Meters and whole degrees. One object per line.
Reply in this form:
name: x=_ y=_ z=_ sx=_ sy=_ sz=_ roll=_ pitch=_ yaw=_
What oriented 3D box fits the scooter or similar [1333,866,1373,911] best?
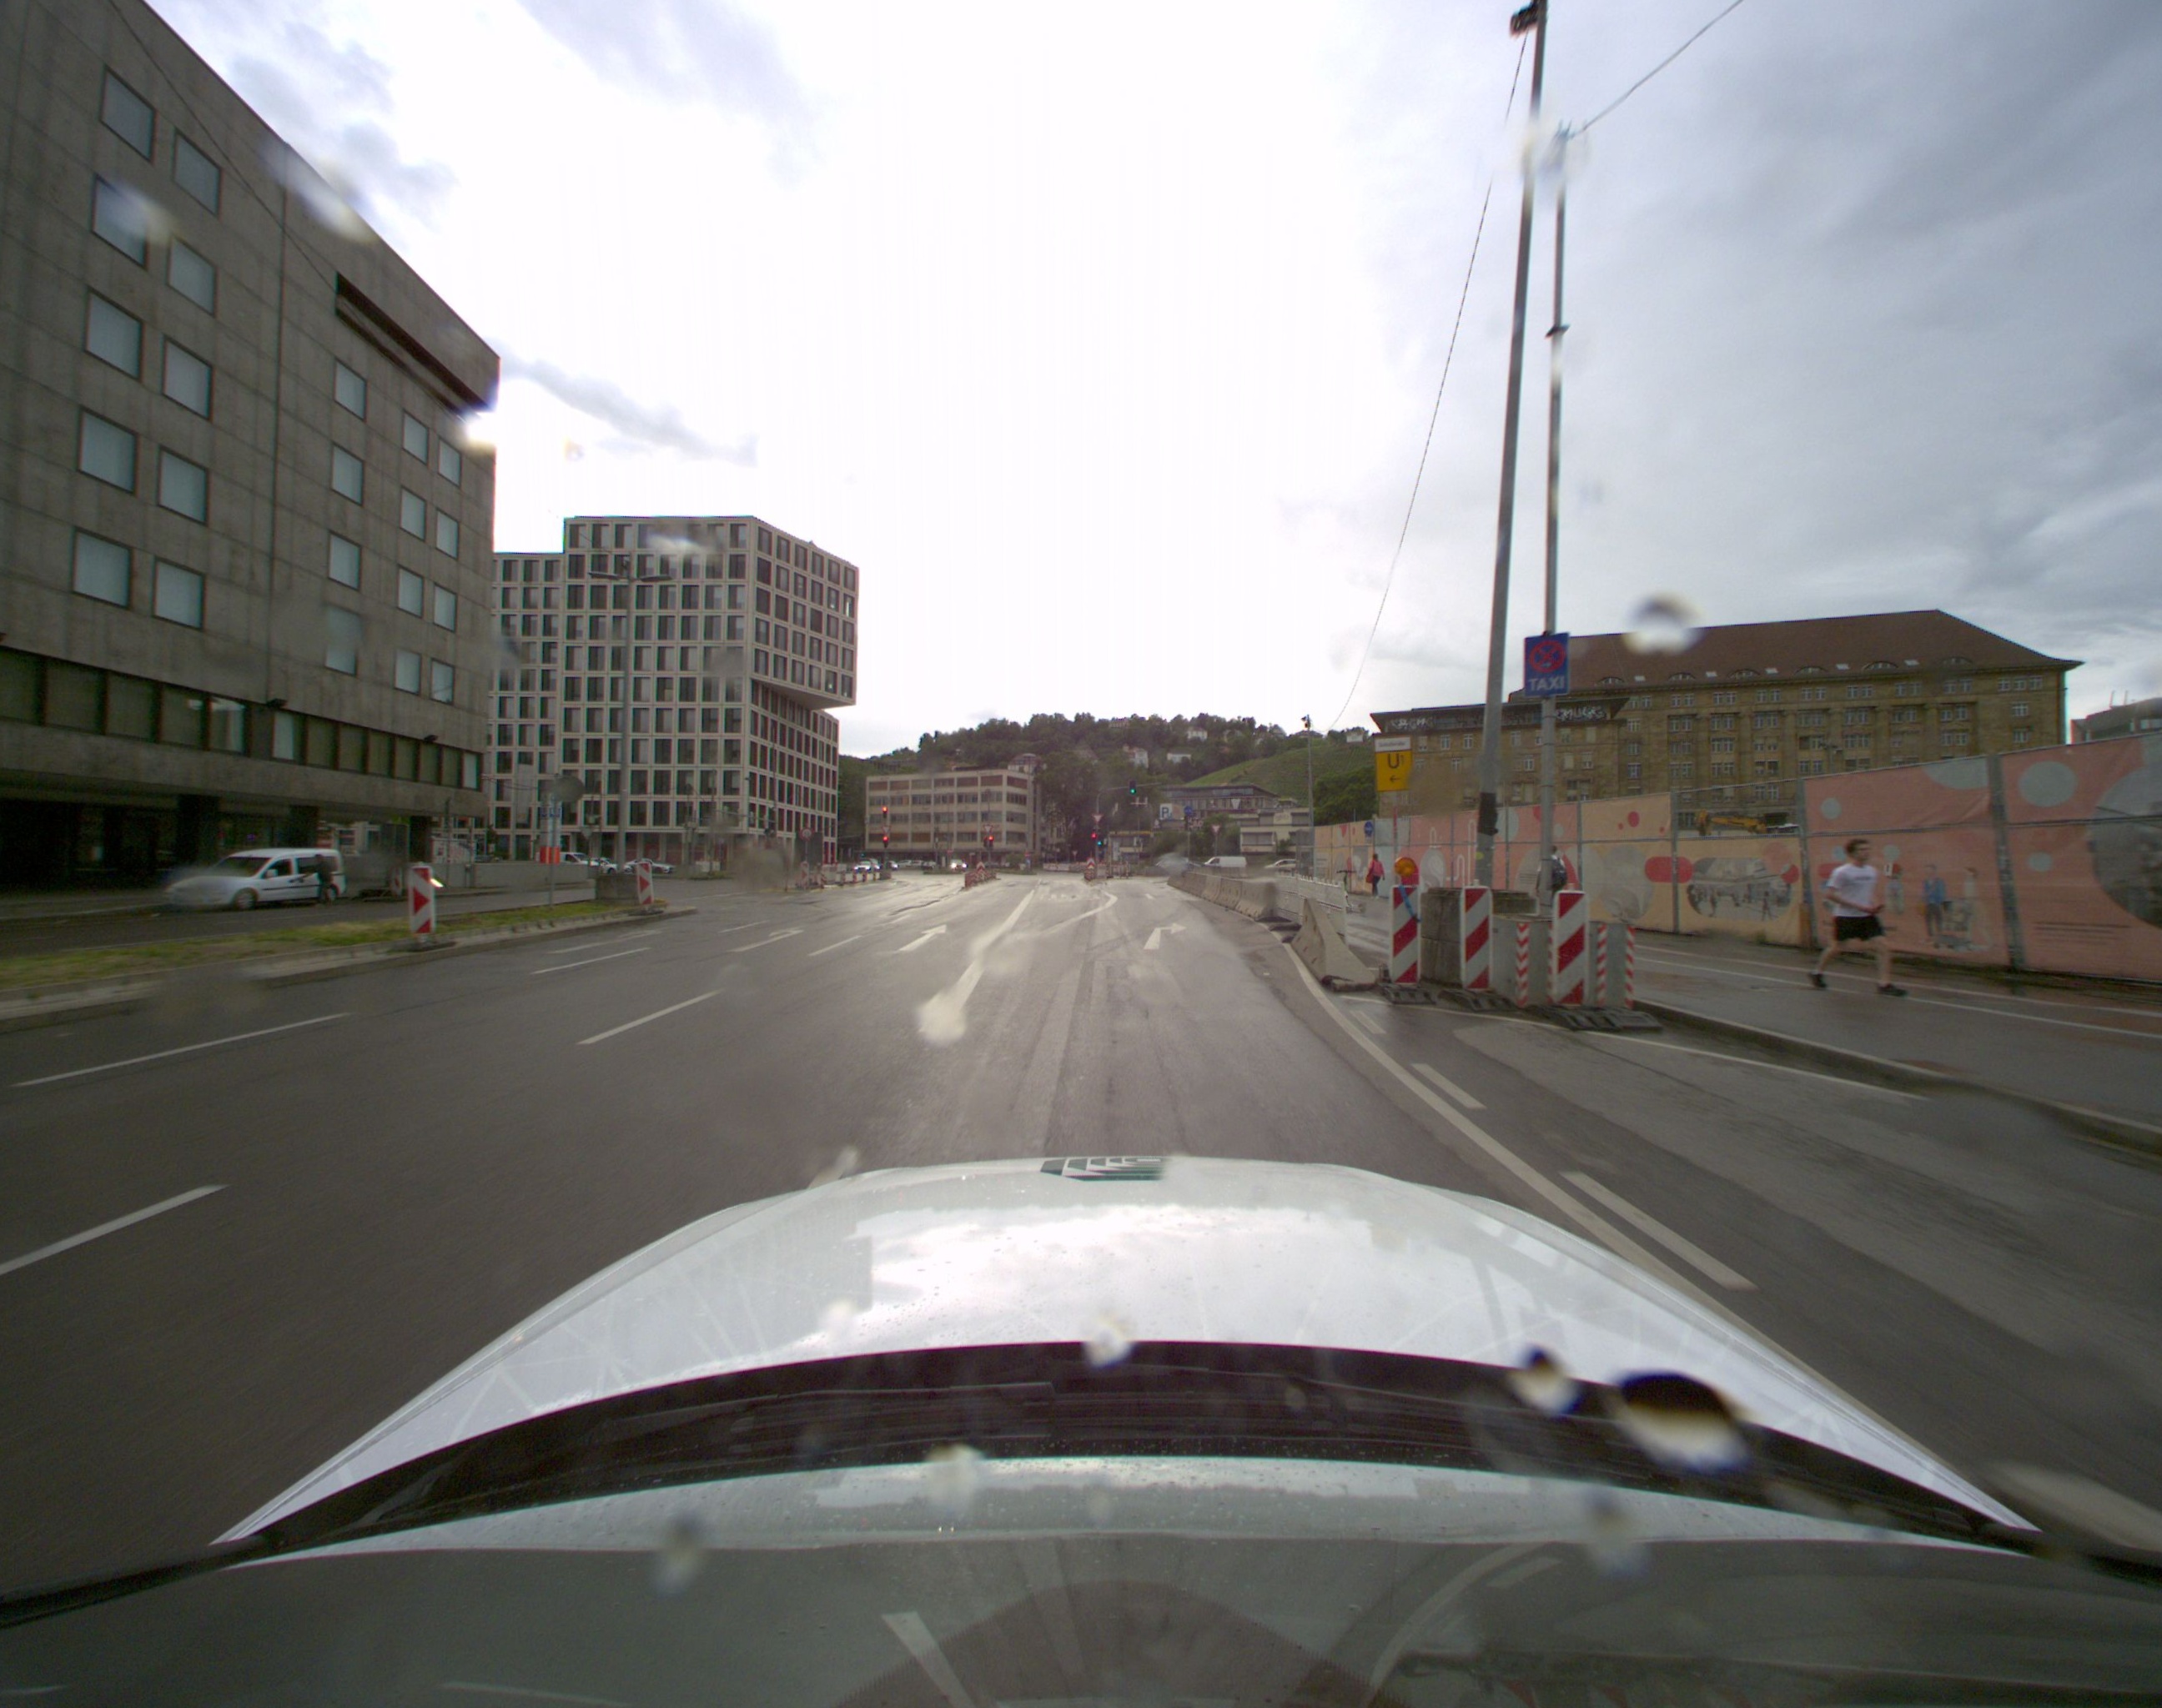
scooter or similar: x=7.619 y=0.951 z=22.860 sx=0.467 sy=1.183 sz=1.410 roll=0 pitch=0 yaw=-10

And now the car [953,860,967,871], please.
car: x=-16.790 y=1.557 z=113.187 sx=1.830 sy=1.486 sz=3.987 roll=0 pitch=0 yaw=-9

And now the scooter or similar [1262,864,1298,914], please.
scooter or similar: x=5.137 y=0.886 z=21.111 sx=0.671 sy=1.214 sz=1.573 roll=0 pitch=0 yaw=4

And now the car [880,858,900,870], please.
car: x=-28.999 y=1.473 z=123.599 sx=1.811 sy=1.816 sz=3.962 roll=0 pitch=0 yaw=-30

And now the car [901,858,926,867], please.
car: x=-29.139 y=1.469 z=141.390 sx=4.027 sy=1.492 sz=1.746 roll=0 pitch=0 yaw=25

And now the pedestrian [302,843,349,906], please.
pedestrian: x=-23.216 y=0.621 z=25.049 sx=0.690 sy=1.886 sz=0.794 roll=0 pitch=0 yaw=-5

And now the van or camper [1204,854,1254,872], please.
van or camper: x=16.255 y=0.978 z=89.656 sx=5.183 sy=1.894 sz=1.886 roll=0 pitch=0 yaw=-3

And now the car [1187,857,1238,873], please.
car: x=12.758 y=1.065 z=79.003 sx=4.636 sy=1.598 sz=2.016 roll=0 pitch=0 yaw=-3

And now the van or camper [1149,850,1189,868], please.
van or camper: x=9.669 y=0.515 z=89.770 sx=4.232 sy=1.979 sz=1.849 roll=0 pitch=0 yaw=-3

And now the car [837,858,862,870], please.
car: x=-35.677 y=1.486 z=125.578 sx=3.949 sy=1.816 sz=1.817 roll=0 pitch=0 yaw=39

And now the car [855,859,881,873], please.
car: x=-26.843 y=1.496 z=102.743 sx=2.216 sy=1.753 sz=4.809 roll=0 pitch=-1 yaw=-2

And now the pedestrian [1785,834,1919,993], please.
pedestrian: x=8.847 y=0.647 z=9.379 sx=0.682 sy=1.740 sz=0.907 roll=0 pitch=0 yaw=-2

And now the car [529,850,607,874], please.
car: x=-41.039 y=0.614 z=65.184 sx=5.043 sy=1.904 sz=2.091 roll=0 pitch=0 yaw=5

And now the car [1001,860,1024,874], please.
car: x=-10.369 y=1.909 z=123.355 sx=2.005 sy=2.013 sz=3.963 roll=0 pitch=0 yaw=-29

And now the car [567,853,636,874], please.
car: x=-40.324 y=0.789 z=68.532 sx=4.629 sy=1.738 sz=2.020 roll=0 pitch=0 yaw=3

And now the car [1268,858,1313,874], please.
car: x=22.184 y=1.217 z=86.321 sx=4.348 sy=1.673 sz=1.849 roll=0 pitch=0 yaw=2

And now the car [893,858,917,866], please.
car: x=-31.870 y=1.478 z=147.406 sx=4.027 sy=1.492 sz=1.746 roll=0 pitch=0 yaw=25

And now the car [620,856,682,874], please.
car: x=-39.551 y=0.981 z=74.961 sx=4.622 sy=1.598 sz=2.022 roll=0 pitch=0 yaw=7

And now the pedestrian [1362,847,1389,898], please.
pedestrian: x=11.023 y=0.684 z=30.507 sx=0.717 sy=1.866 sz=0.709 roll=0 pitch=0 yaw=-2

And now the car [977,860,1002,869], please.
car: x=-15.022 y=1.744 z=133.805 sx=4.025 sy=1.492 sz=1.747 roll=0 pitch=0 yaw=35

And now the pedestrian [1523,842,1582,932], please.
pedestrian: x=10.087 y=0.689 z=17.466 sx=0.701 sy=1.866 sz=0.990 roll=0 pitch=0 yaw=0

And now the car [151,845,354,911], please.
car: x=-24.389 y=0.658 z=24.259 sx=1.771 sy=1.762 sz=4.365 roll=0 pitch=0 yaw=-4
